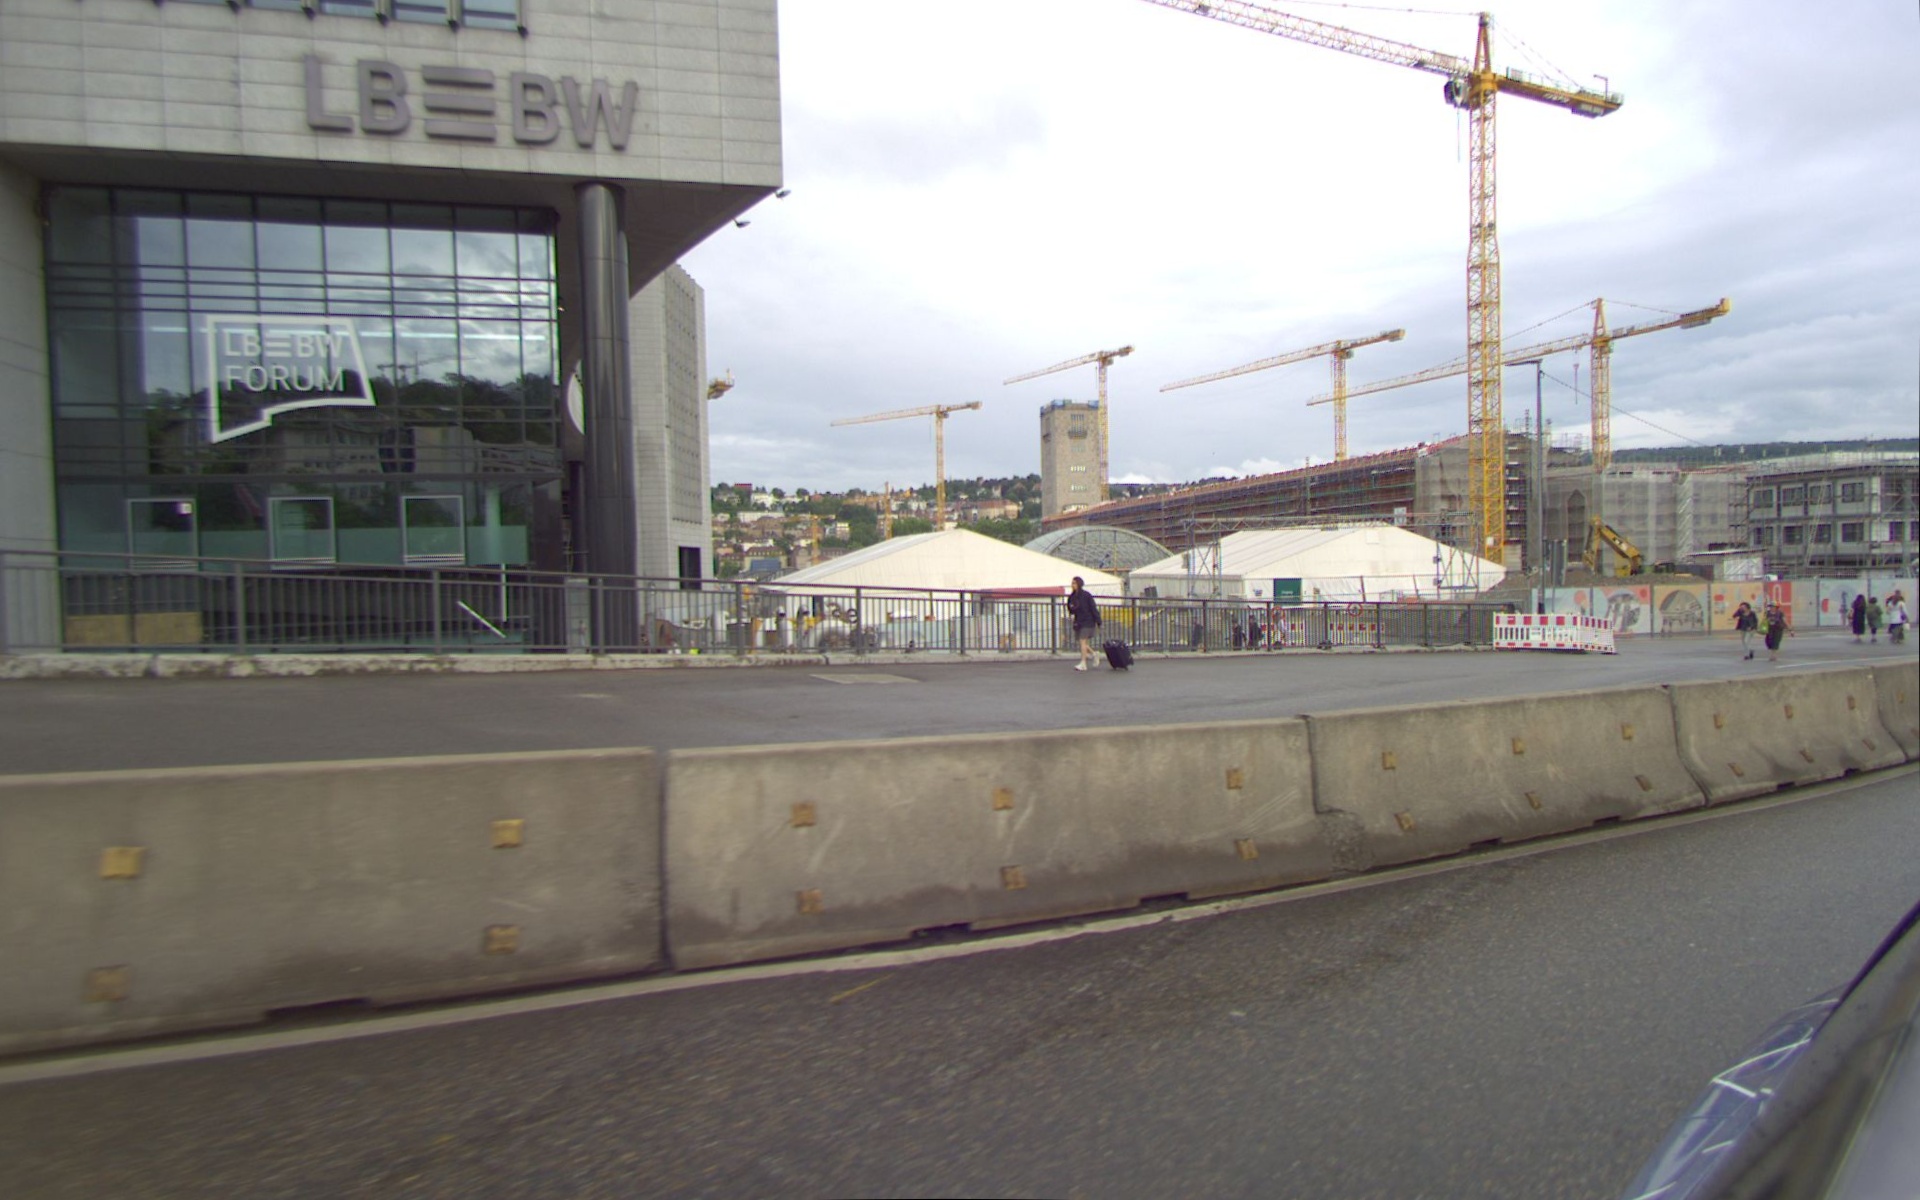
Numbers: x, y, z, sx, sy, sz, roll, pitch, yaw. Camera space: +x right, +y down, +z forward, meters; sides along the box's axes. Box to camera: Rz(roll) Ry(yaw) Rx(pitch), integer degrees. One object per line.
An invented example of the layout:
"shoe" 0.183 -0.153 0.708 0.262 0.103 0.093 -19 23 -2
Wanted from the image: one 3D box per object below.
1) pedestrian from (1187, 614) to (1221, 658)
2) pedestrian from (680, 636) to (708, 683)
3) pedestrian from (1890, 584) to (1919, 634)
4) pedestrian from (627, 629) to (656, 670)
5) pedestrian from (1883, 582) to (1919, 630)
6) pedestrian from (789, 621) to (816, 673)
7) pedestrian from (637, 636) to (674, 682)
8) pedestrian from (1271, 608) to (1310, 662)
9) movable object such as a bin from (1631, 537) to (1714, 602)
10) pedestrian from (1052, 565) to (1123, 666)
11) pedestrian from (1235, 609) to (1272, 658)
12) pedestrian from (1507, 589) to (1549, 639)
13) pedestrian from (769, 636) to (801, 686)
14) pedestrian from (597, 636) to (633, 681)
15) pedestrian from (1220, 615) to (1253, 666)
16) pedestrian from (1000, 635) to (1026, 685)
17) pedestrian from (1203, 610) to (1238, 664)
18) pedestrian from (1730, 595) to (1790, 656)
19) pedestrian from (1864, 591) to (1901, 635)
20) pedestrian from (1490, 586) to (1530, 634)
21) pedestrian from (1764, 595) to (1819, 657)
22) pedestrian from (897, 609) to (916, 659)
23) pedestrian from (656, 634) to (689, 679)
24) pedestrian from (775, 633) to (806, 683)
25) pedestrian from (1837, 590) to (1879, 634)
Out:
"pedestrian" 9.203 1.339 38.156 0.988 1.572 0.870 -1 1 -4
"pedestrian" -9.810 2.177 37.344 0.647 1.657 0.734 -1 1 26
"pedestrian" 34.074 0.315 36.235 0.872 1.744 0.781 -1 1 -14
"pedestrian" -13.632 2.093 43.317 0.853 1.657 1.008 -2 2 -36
"pedestrian" 37.232 0.235 39.891 0.987 1.840 0.871 -1 1 -14
"pedestrian" -5.840 1.732 37.539 0.635 1.838 0.750 -1 1 26
"pedestrian" -11.416 2.212 37.981 0.992 1.657 0.866 -1 1 11
"pedestrian" 11.518 1.218 35.275 0.988 1.803 0.870 -1 1 -4
"movable object such as a bin" 39.131 -1.693 55.589 4.144 3.451 1.947 -2 1 -26
"pedestrian" 2.156 0.240 17.202 1.039 1.672 0.733 0 1 -5
"pedestrian" 10.478 1.185 36.171 0.988 1.657 0.870 -1 1 -4
"pedestrian" 20.425 0.499 36.432 0.988 1.747 0.870 -1 1 -4
"pedestrian" -6.070 2.101 35.083 0.988 1.657 0.870 -1 1 -4
"pedestrian" -13.195 2.226 38.720 0.994 1.657 0.865 -1 1 16
"pedestrian" 9.429 1.362 34.511 0.898 1.657 0.701 -1 1 -4
"pedestrian" 1.786 2.013 34.104 0.741 1.657 0.585 -1 1 15
"pedestrian" 9.110 1.282 35.422 0.988 1.805 0.774 -1 1 -4
"pedestrian" 21.700 0.678 27.470 0.933 1.613 0.864 -1 1 -5
"pedestrian" 33.641 0.471 36.908 0.867 1.541 0.612 -1 1 -14
"pedestrian" 20.360 0.358 37.480 0.988 1.710 0.870 -1 1 -4
"pedestrian" 21.955 0.675 26.722 0.789 1.595 0.735 -1 0 -5
"pedestrian" -1.793 1.137 33.905 0.555 1.636 0.706 -1 1 0
"pedestrian" -11.130 2.169 39.173 0.989 1.657 0.869 -1 1 1
"pedestrian" -6.045 2.061 36.115 0.988 1.657 0.870 -1 1 -4
"pedestrian" 33.330 0.441 37.554 0.987 1.572 0.718 -1 1 -14
